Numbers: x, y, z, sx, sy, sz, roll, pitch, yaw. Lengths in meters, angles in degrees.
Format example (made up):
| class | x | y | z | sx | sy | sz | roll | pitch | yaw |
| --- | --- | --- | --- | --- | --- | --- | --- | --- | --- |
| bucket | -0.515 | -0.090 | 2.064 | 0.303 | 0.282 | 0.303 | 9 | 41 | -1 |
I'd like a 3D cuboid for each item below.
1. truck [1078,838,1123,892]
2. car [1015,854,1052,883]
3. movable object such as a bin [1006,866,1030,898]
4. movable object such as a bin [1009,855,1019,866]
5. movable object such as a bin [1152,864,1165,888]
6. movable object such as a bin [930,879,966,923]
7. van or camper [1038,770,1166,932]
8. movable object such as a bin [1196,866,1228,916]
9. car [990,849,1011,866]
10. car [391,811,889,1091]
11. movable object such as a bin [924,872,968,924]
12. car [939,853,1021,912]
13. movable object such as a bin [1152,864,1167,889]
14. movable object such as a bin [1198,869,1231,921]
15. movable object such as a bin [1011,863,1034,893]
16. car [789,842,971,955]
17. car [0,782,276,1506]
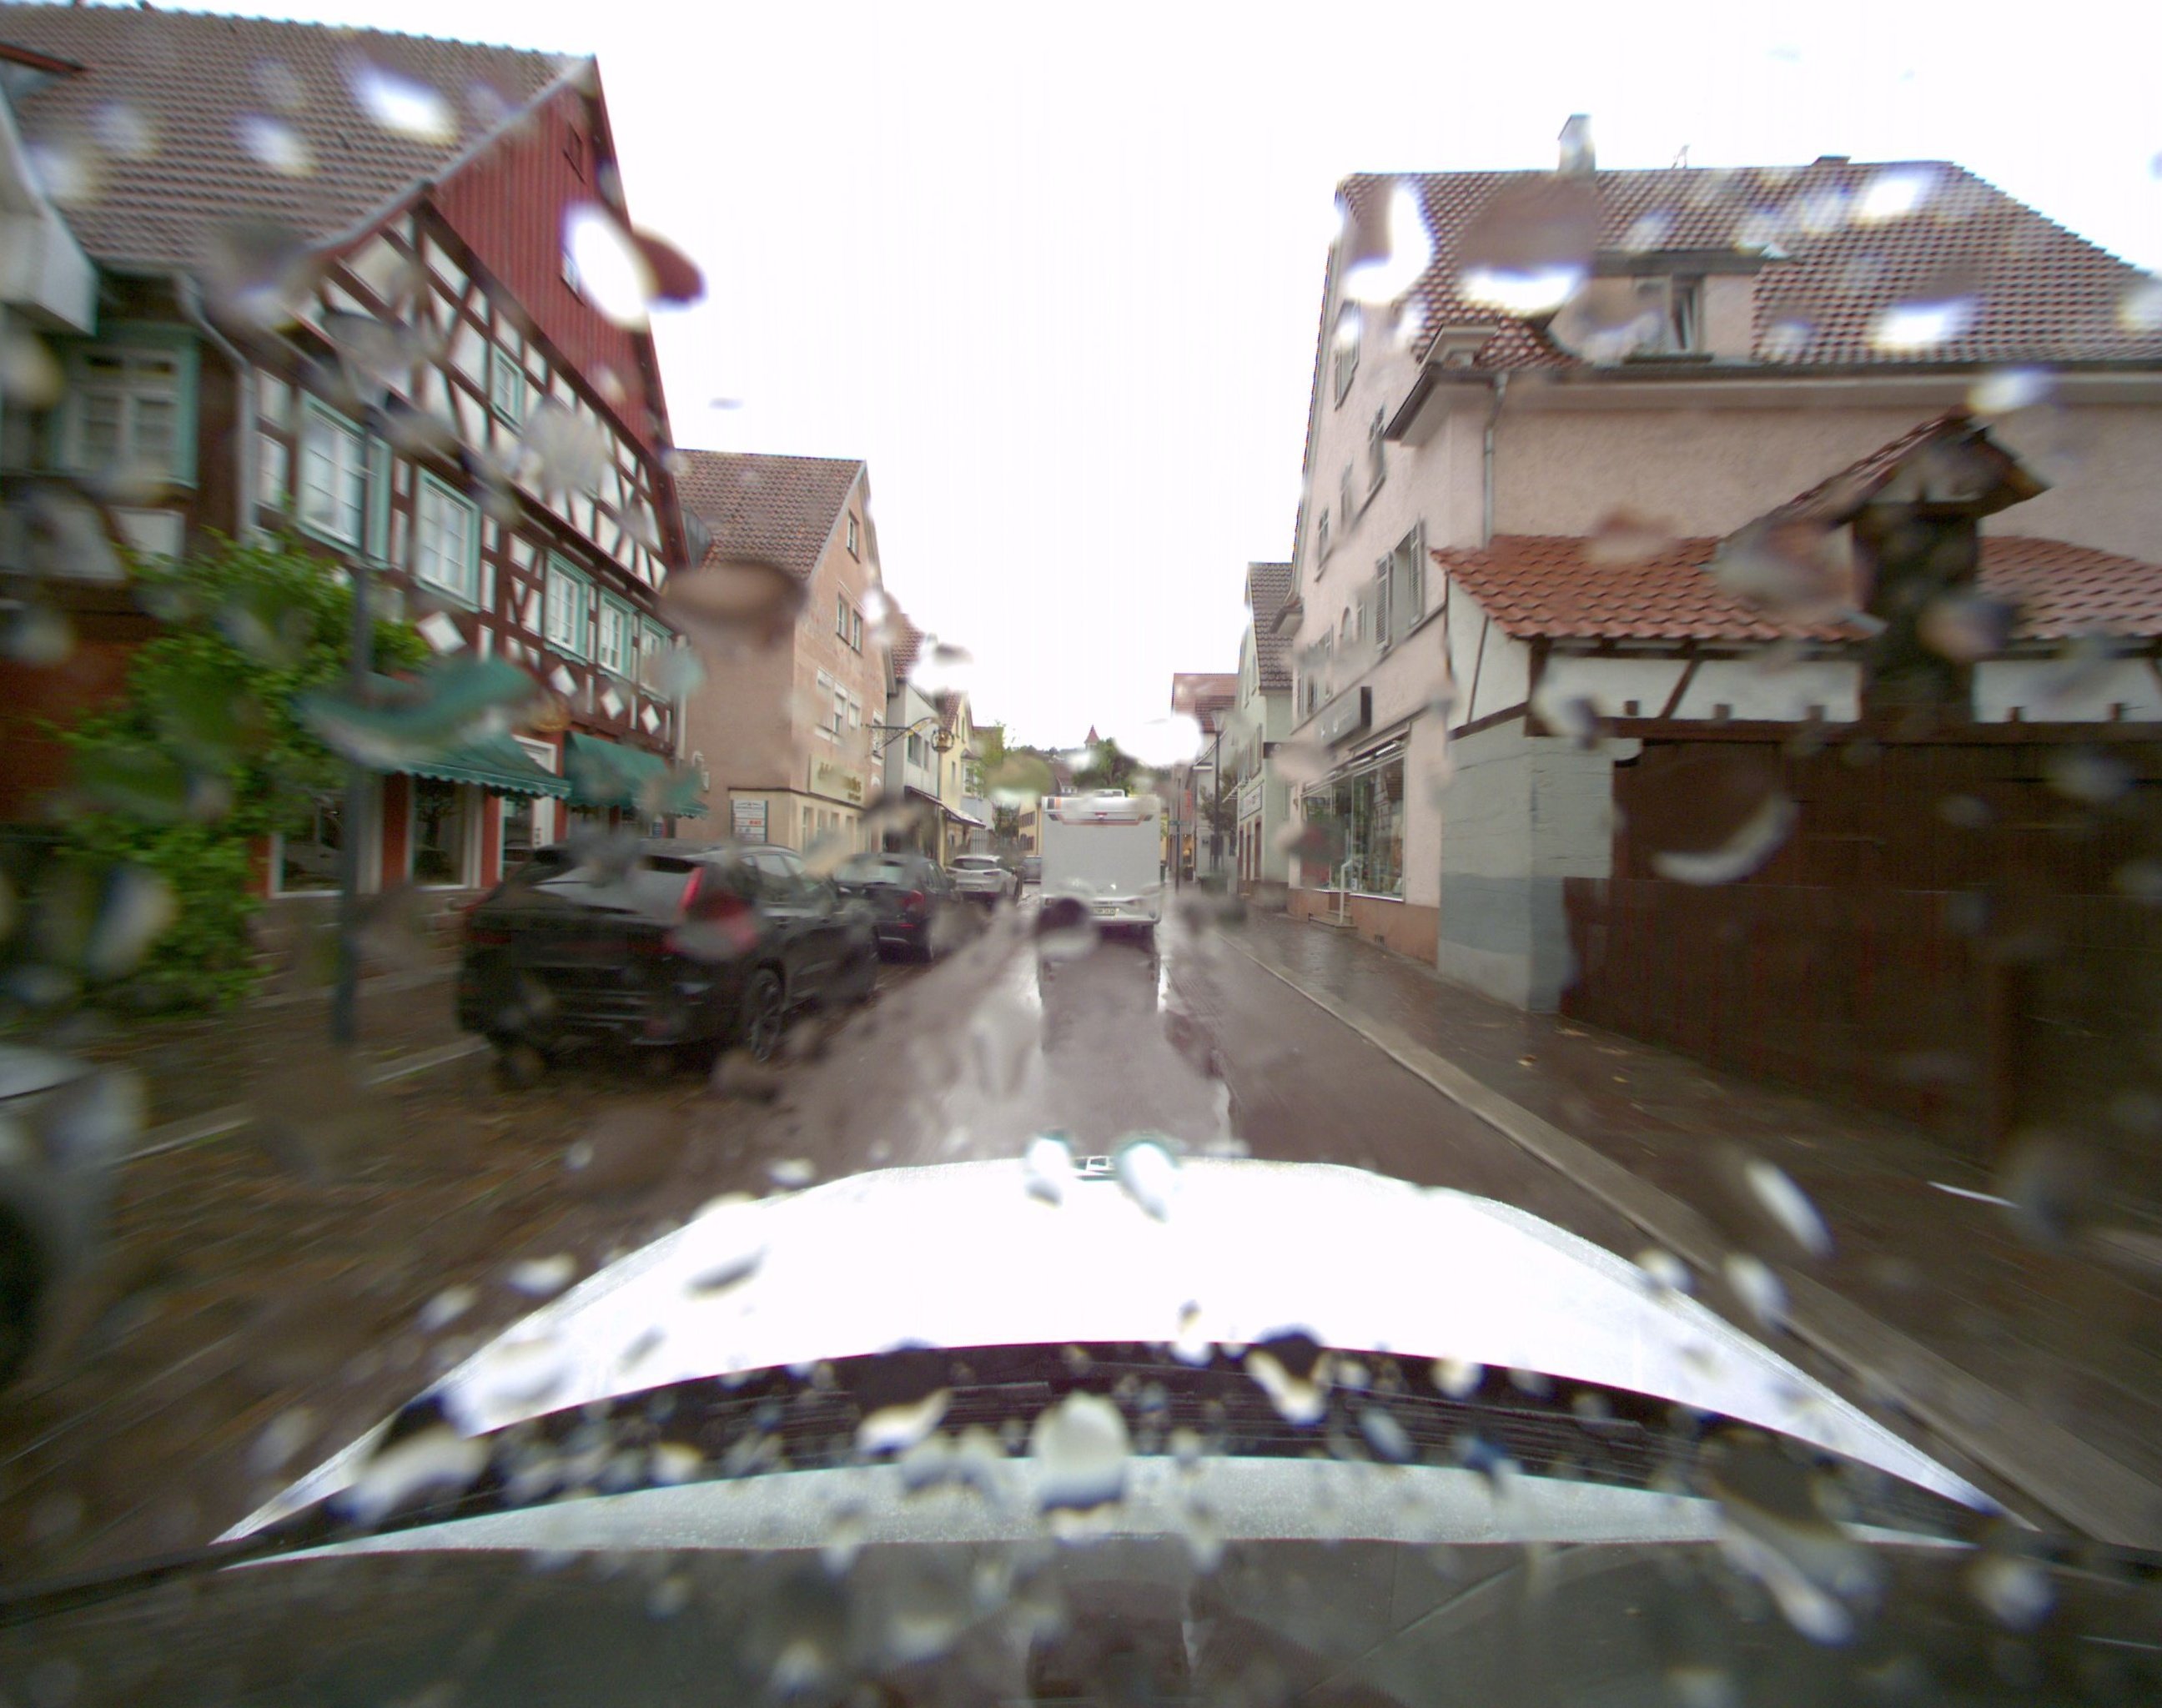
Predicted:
| class | x | y | z | sx | sy | sz | roll | pitch | yaw |
| --- | --- | --- | --- | --- | --- | --- | --- | --- | --- |
| truck | 1.092 | 0.665 | 48.077 | 2.454 | 2.939 | 6.196 | 0 | -1 | 0 |
| car | -2.684 | 0.784 | 45.775 | 1.990 | 1.472 | 3.994 | 1 | 0 | -4 |
| movable object such as a bin | -2.217 | 0.980 | 28.871 | 0.813 | 1.106 | 0.609 | 0 | -2 | -3 |
| movable object such as a bin | -6.257 | 0.635 | 76.009 | 0.819 | 1.051 | 0.696 | 1 | -2 | -14 |
| movable object such as a bin | 3.948 | 1.116 | 41.532 | 0.656 | 1.245 | 0.543 | 0 | -2 | 1 |
| movable object such as a bin | -2.960 | 1.040 | 18.146 | 0.653 | 0.955 | 0.563 | 0 | -1 | 4 |
| van or camper | 0.327 | 0.018 | 17.938 | 2.319 | 2.919 | 6.389 | 0 | -1 | -1 |
| movable object such as a bin | 3.173 | 0.896 | 19.807 | 0.715 | 1.201 | 0.579 | 0 | -2 | 3 |
| car | -10.248 | 0.466 | 103.323 | 1.998 | 2.014 | 3.977 | 1 | -1 | -17 |
| car | -3.193 | 0.632 | 7.189 | 1.827 | 1.675 | 4.540 | 0 | -1 | 1 |
| movable object such as a bin | -2.873 | 0.935 | 17.393 | 0.744 | 1.082 | 0.764 | 0 | -1 | 4 |
| car | -2.868 | 0.806 | 23.953 | 1.820 | 1.566 | 4.000 | 0 | -1 | 1 |
| movable object such as a bin | 3.945 | 1.110 | 40.946 | 0.656 | 1.239 | 0.621 | 0 | -2 | 1 |
| movable object such as a bin | 3.137 | 0.966 | 19.214 | 0.715 | 1.201 | 0.573 | 0 | -2 | 3 |
| movable object such as a bin | -2.261 | 0.912 | 31.539 | 0.813 | 1.106 | 0.609 | 4 | -2 | -3 |
| car | -3.042 | 0.655 | 13.312 | 1.827 | 1.552 | 4.281 | 0 | -1 | 1 |
| car | -3.457 | 0.611 | 0.227 | 1.764 | 1.675 | 4.482 | 2 | -1 | 3 |
